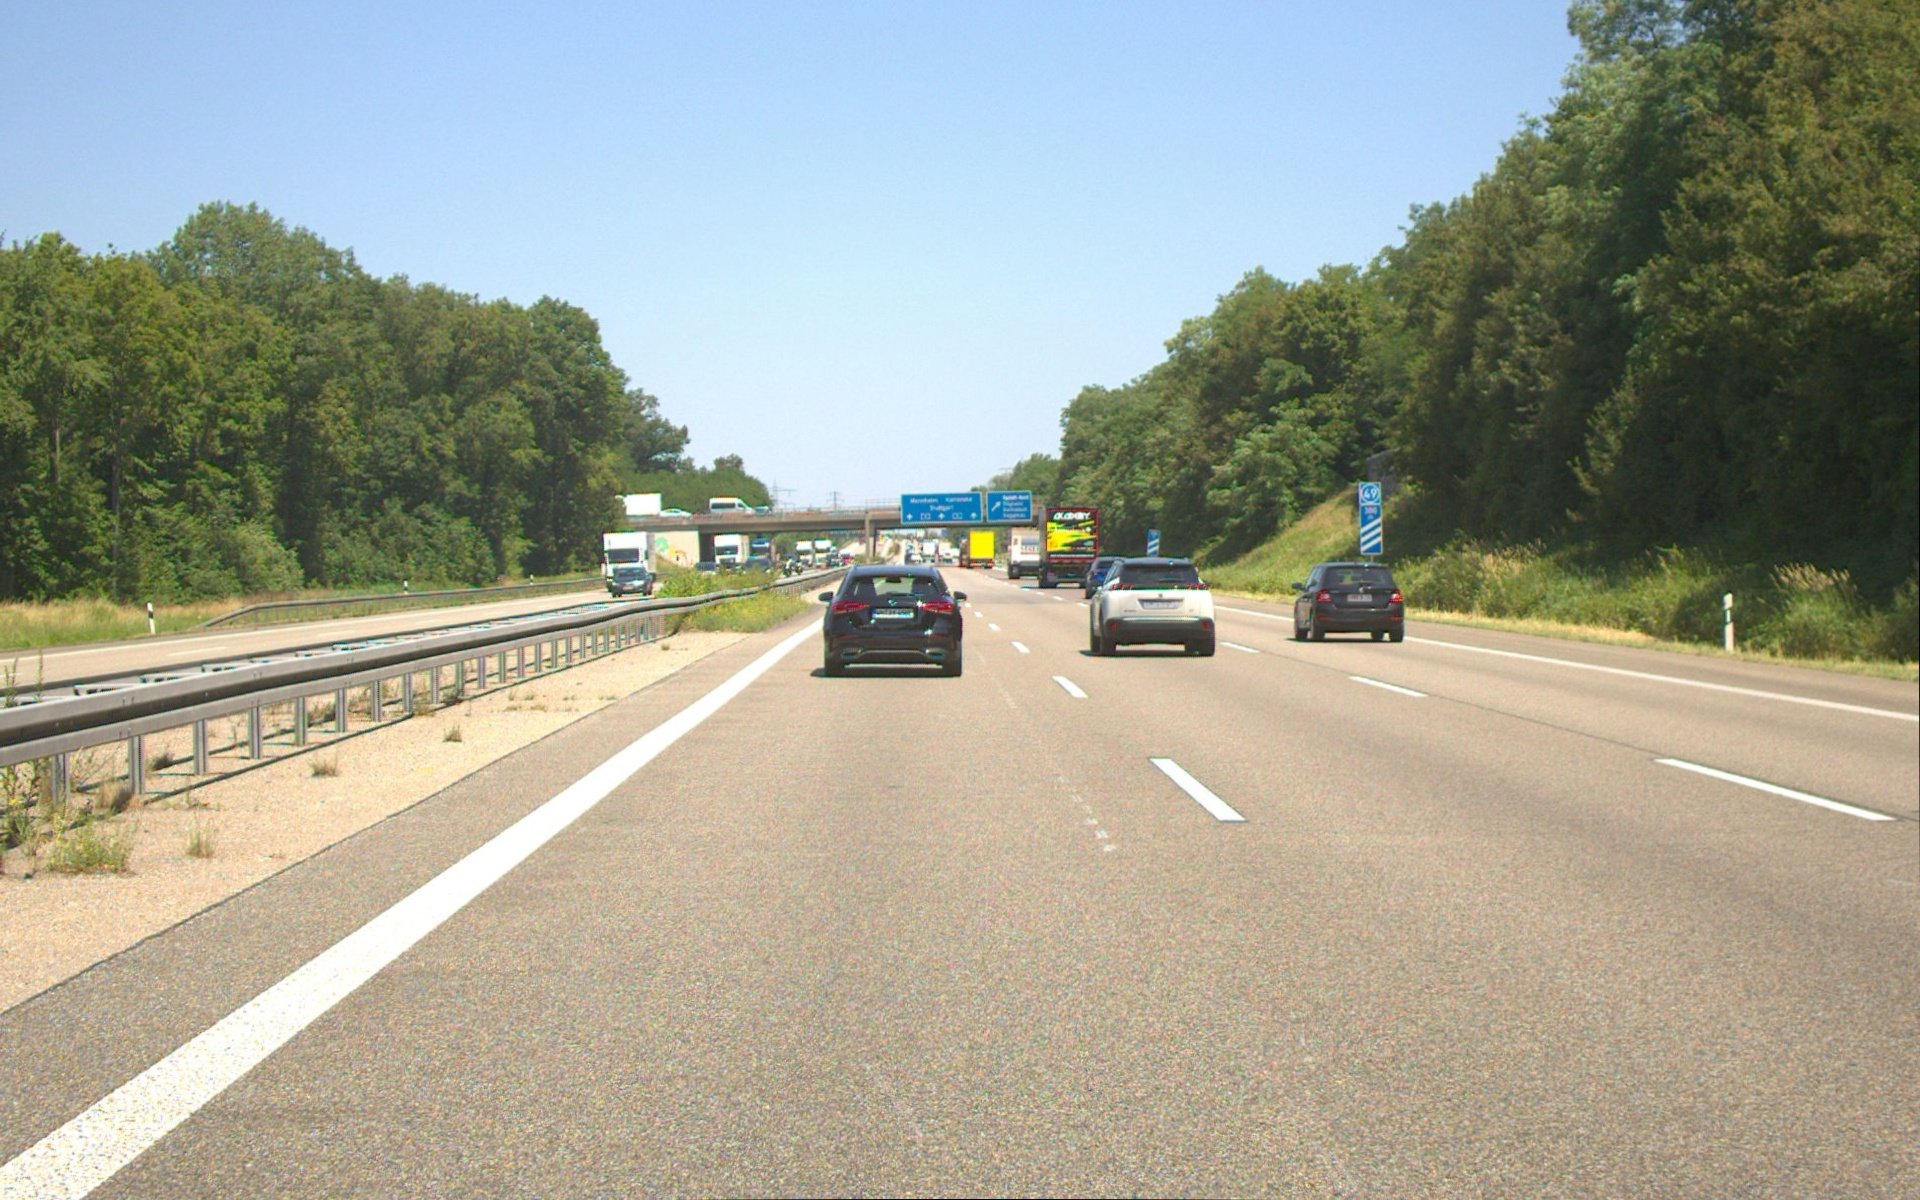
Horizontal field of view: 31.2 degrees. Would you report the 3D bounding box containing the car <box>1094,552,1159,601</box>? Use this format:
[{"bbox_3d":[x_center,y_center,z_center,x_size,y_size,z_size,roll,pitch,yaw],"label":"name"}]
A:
[{"bbox_3d":[6.182,-0.895,128.007,2.076,1.745,4.242,-1,1,-2],"label":"car"}]

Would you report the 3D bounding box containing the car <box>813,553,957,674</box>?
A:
[{"bbox_3d":[-1.004,0.141,45.153,1.799,1.497,4.242,0,1,-2],"label":"car"}]

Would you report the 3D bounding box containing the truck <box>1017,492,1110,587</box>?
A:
[{"bbox_3d":[5.152,-2.998,174.499,3.647,4.574,15.768,1,0,-2],"label":"truck"}]

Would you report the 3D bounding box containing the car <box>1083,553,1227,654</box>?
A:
[{"bbox_3d":[3.041,0.028,54.366,1.899,1.527,4.242,0,1,-2],"label":"car"}]

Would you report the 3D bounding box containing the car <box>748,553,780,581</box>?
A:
[{"bbox_3d":[-11.947,-2.044,210.141,1.799,1.690,4.242,0,1,-1],"label":"car"}]

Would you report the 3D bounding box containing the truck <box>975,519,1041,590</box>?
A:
[{"bbox_3d":[3.167,-3.035,233.834,3.647,4.574,17.249,1,0,-2],"label":"truck"}]

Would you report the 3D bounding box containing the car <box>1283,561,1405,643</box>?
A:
[{"bbox_3d":[7.030,0.014,63.251,1.789,1.456,3.949,0,1,0],"label":"car"}]

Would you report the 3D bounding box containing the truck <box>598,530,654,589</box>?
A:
[{"bbox_3d":[-21.271,-2.616,219.564,2.796,3.620,10.698,-1,1,-2],"label":"truck"}]

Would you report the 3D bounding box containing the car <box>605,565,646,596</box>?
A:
[{"bbox_3d":[-16.916,-0.998,174.038,1.799,1.527,4.679,0,1,-2],"label":"car"}]
